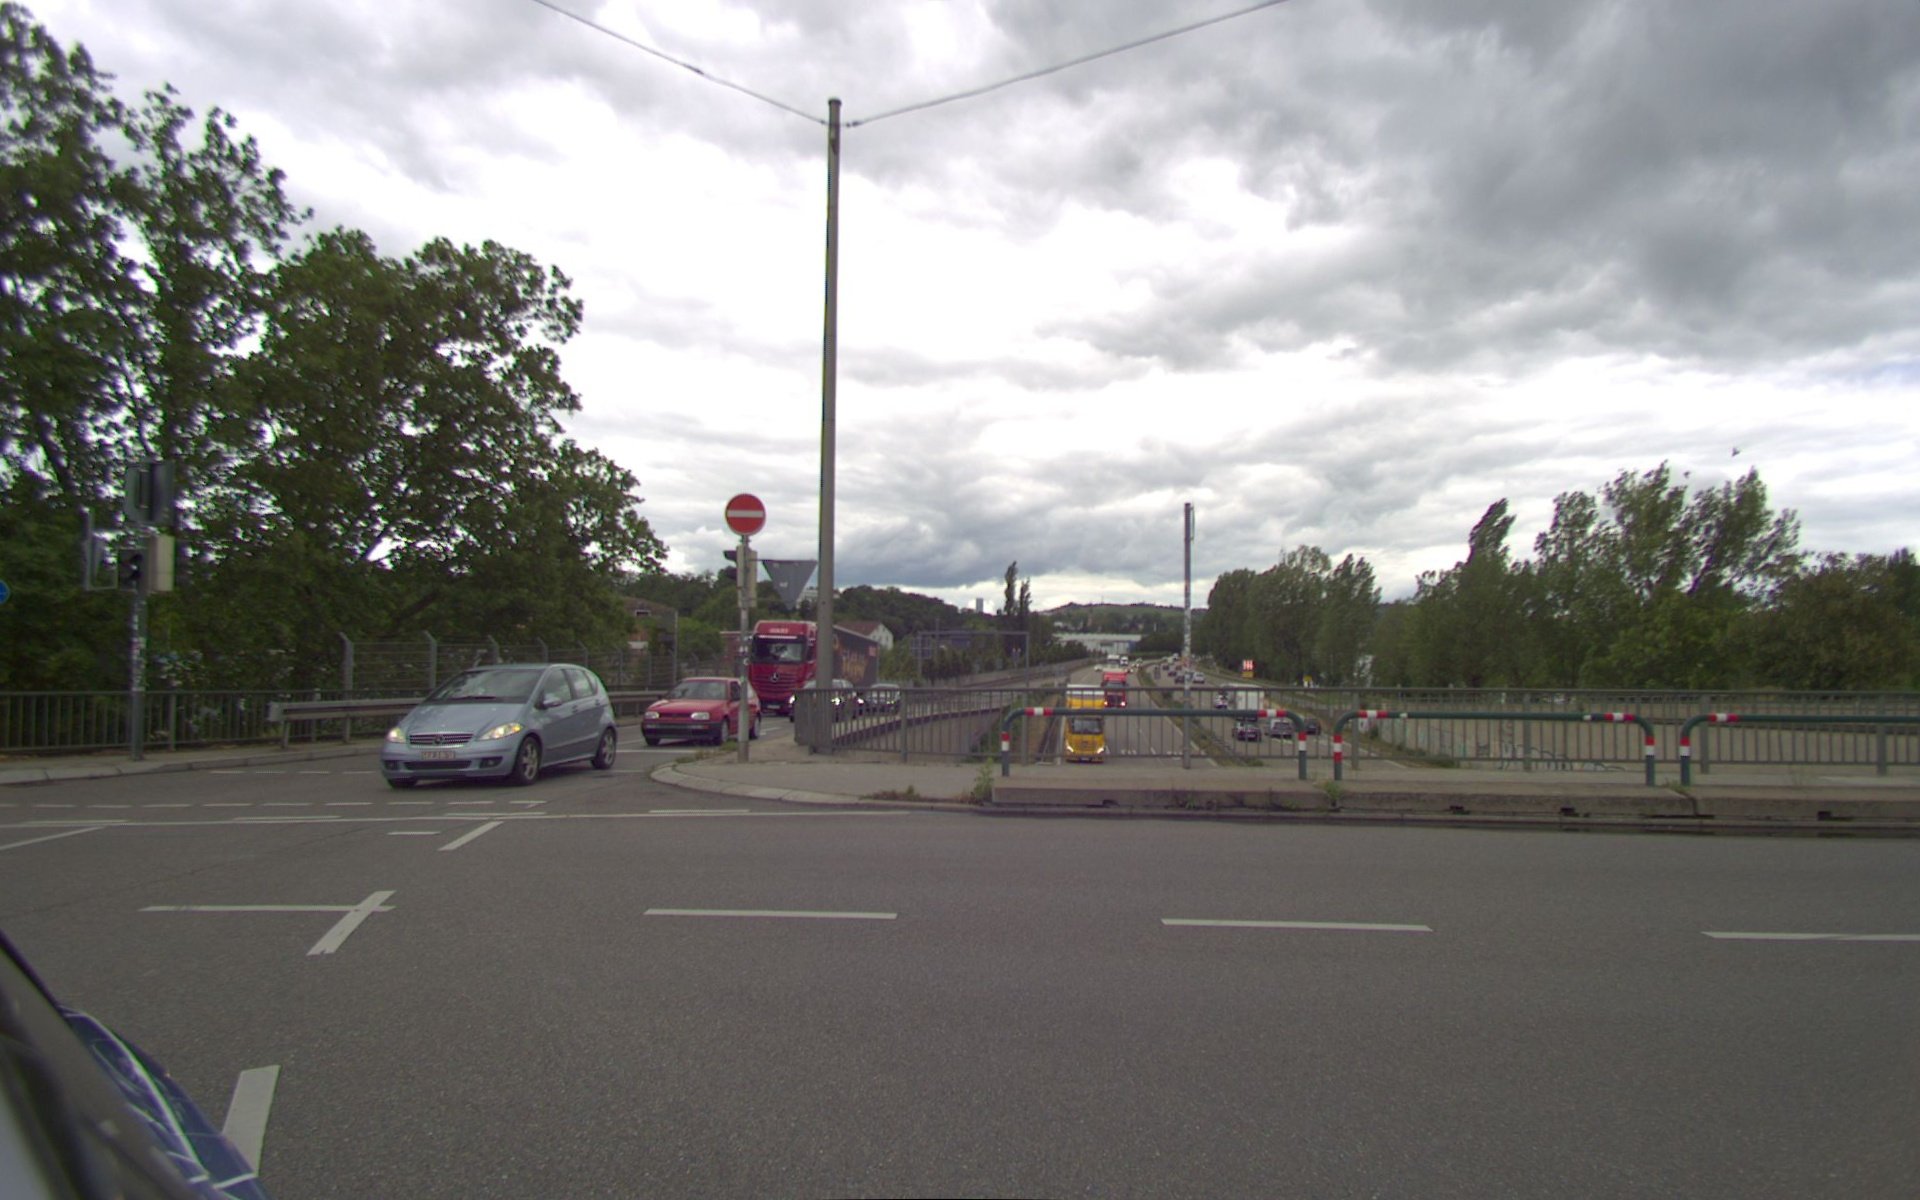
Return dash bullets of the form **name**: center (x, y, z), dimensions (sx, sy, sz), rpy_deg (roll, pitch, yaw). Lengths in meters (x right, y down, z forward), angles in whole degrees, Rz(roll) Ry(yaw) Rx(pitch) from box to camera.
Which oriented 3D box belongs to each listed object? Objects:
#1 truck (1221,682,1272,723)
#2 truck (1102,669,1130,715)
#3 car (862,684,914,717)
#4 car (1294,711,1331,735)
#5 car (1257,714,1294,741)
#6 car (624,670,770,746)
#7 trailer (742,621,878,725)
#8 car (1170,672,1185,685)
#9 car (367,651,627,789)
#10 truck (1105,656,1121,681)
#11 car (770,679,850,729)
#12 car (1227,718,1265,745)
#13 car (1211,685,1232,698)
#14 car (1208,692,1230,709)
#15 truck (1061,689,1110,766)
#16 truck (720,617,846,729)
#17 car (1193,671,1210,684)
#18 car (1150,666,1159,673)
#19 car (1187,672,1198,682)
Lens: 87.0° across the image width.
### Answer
- **truck**: center (28.352, 10.127, 100.666), dimensions (3.552, 3.482, 8.221), rpy_deg (2, -2, 7)
- **truck**: center (17.322, 10.013, 112.295), dimensions (2.858, 4.389, 13.220), rpy_deg (0, -2, 9)
- **car**: center (-3.288, 4.621, 46.894), dimensions (1.677, 1.431, 4.458), rpy_deg (-1, -4, 6)
- **car**: center (30.629, 10.668, 88.045), dimensions (2.113, 1.577, 4.416), rpy_deg (1, -2, 7)
- **car**: center (26.183, 10.567, 84.062), dimensions (2.113, 1.730, 4.416), rpy_deg (1, -2, 7)
- **car**: center (-5.545, 2.278, 21.877), dimensions (1.727, 1.475, 3.946), rpy_deg (-1, -5, 7)
- **trailer**: center (-6.877, 3.683, 49.509), dimensions (3.625, 4.355, 13.760), rpy_deg (-1, -5, 4)
- **car**: center (38.046, 13.745, 177.481), dimensions (2.200, 2.029, 4.630), rpy_deg (1, 0, 8)
- **car**: center (-6.104, 1.575, 13.857), dimensions (1.725, 1.616, 3.678), rpy_deg (-1, -5, 3)
- **truck**: center (33.649, 14.956, 222.422), dimensions (3.341, 4.992, 13.897), rpy_deg (-1, -2, 9)
- **car**: center (-5.116, 3.536, 35.083), dimensions (1.677, 1.431, 4.459), rpy_deg (-1, -2, 6)
- **car**: center (22.825, 10.487, 80.965), dimensions (2.311, 1.730, 4.718), rpy_deg (-2, -2, 9)
- **car**: center (36.382, 12.722, 140.981), dimensions (1.974, 1.630, 4.323), rpy_deg (1, -2, 4)
- **car**: center (29.272, 11.387, 114.487), dimensions (1.977, 1.630, 4.318), rpy_deg (2, -3, 8)
- **truck**: center (8.361, 8.291, 67.494), dimensions (2.869, 4.215, 10.001), rpy_deg (2, -2, 7)
- **truck**: center (-7.352, 3.178, 43.393), dimensions (3.625, 4.355, 7.224), rpy_deg (-1, -5, 5)
- **car**: center (43.531, 13.969, 182.251), dimensions (2.569, 2.029, 4.629), rpy_deg (1, -3, 8)
- **car**: center (49.220, 17.664, 256.500), dimensions (1.978, 1.730, 3.629), rpy_deg (2, -4, 9)
- **car**: center (45.865, 15.221, 199.630), dimensions (1.978, 1.782, 3.472), rpy_deg (2, -4, 9)
